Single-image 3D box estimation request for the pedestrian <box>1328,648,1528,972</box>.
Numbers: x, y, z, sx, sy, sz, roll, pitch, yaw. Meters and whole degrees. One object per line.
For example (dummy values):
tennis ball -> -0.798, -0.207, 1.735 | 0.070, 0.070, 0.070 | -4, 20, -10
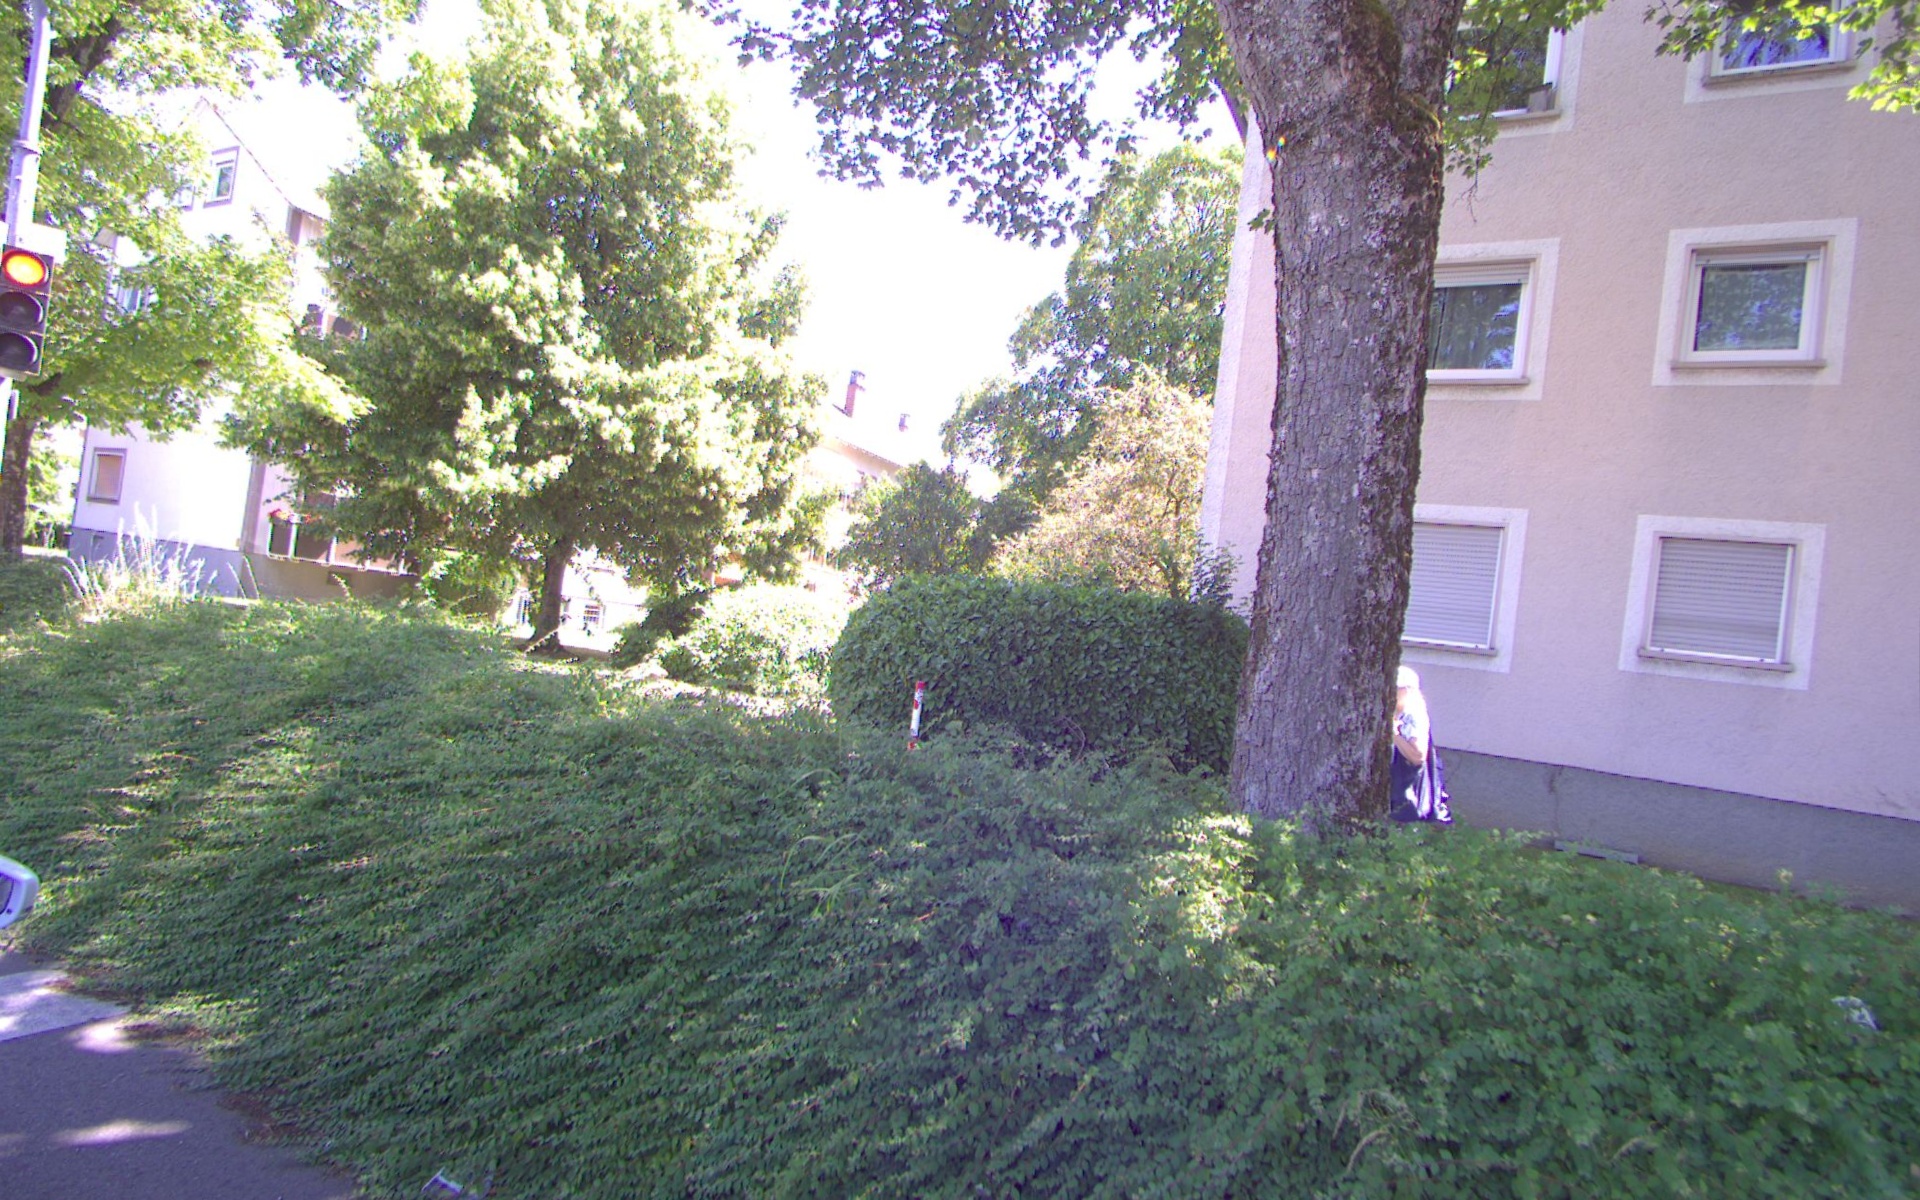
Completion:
pedestrian -> 2.717, 1.166, 5.914 | 0.836, 1.653, 0.720 | 7, 0, 23
